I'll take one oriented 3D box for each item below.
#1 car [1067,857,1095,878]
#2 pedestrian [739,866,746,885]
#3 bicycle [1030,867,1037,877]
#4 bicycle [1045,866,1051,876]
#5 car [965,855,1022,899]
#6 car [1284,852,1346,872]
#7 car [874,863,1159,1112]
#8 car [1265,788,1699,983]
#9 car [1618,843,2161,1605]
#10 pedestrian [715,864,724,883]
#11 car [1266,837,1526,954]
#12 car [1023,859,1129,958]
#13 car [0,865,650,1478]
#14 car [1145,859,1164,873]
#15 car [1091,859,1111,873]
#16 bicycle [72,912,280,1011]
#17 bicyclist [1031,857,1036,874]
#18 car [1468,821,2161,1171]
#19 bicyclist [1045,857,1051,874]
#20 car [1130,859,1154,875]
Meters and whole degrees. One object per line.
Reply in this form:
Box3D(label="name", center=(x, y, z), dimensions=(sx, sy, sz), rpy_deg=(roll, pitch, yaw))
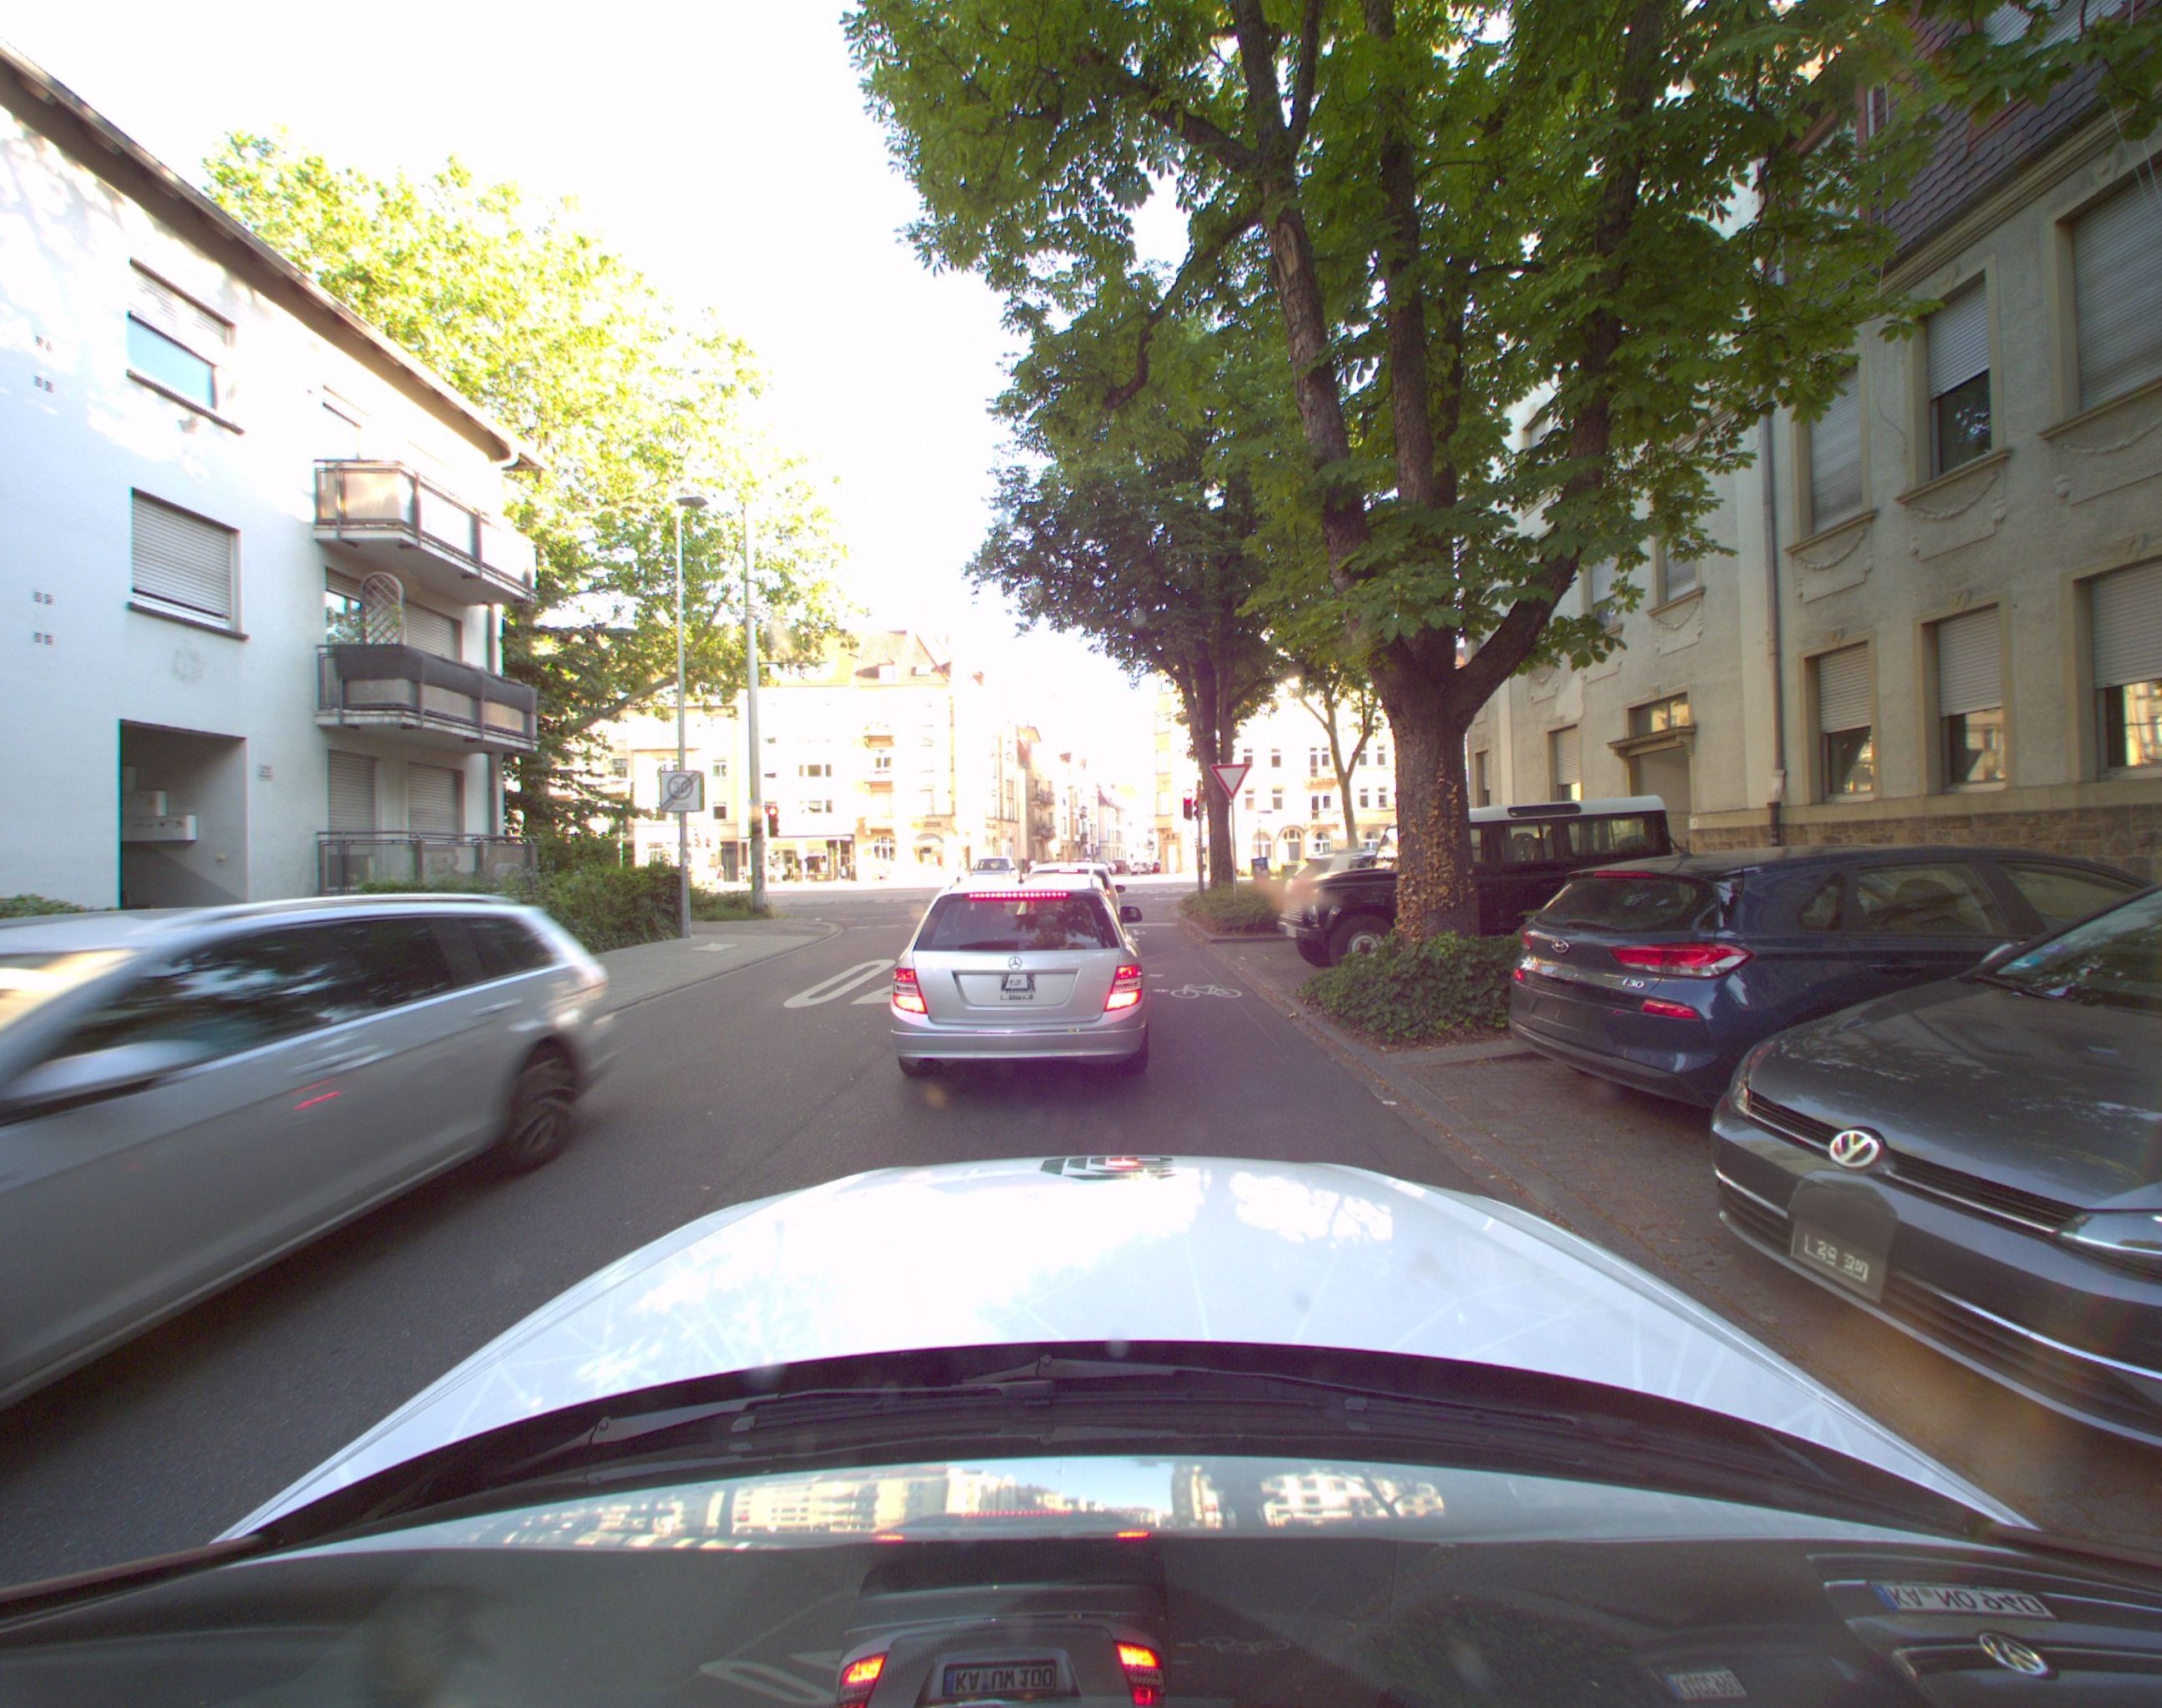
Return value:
Box3D(label="car", center=(0.031, 1.341, 80.510), dimensions=(1.926, 1.958, 4.161), rpy_deg=(-2, 0, 10))
Box3D(label="pedestrian", center=(-27.104, 1.753, 65.204), dimensions=(0.474, 1.511, 0.427), rpy_deg=(-1, 0, -23))
Box3D(label="bicycle", center=(-4.298, 1.592, 73.478), dimensions=(0.567, 0.834, 1.565), rpy_deg=(-1, 0, -1))
Box3D(label="bicycle", center=(-2.970, 1.551, 73.499), dimensions=(0.567, 0.834, 1.565), rpy_deg=(-1, 0, -1))
Box3D(label="car", center=(-3.281, 0.827, 31.071), dimensions=(1.609, 1.501, 3.594), rpy_deg=(-2, 1, 2))
Box3D(label="car", center=(14.148, 0.472, 49.386), dimensions=(3.352, 1.069, 1.380), rpy_deg=(-2, 0, 0))
Box3D(label="car", center=(-0.399, 0.811, 6.588), dimensions=(1.685, 1.429, 3.491), rpy_deg=(0, 0, -1))
Box3D(label="car", center=(4.790, 0.351, 10.188), dimensions=(4.478, 1.956, 1.792), rpy_deg=(-3, 0, -1))
Box3D(label="car", center=(4.090, 0.661, 2.307), dimensions=(4.037, 1.422, 1.627), rpy_deg=(-3, -1, -2))
Box3D(label="pedestrian", center=(-28.300, 1.521, 63.791), dimensions=(0.566, 1.511, 0.499), rpy_deg=(-1, 0, -17))
Box3D(label="car", center=(4.955, 0.613, 13.102), dimensions=(3.475, 1.586, 1.708), rpy_deg=(-3, 0, -5))
Box3D(label="car", center=(-0.061, 0.799, 13.673), dimensions=(1.528, 1.391, 3.599), rpy_deg=(-1, 0, 0))
Box3D(label="car", center=(-3.619, 0.850, 3.040), dimensions=(1.776, 1.462, 4.296), rpy_deg=(-3, 0, -2))
Box3D(label="car", center=(9.225, 1.464, 102.025), dimensions=(1.709, 1.478, 4.016), rpy_deg=(-6, -1, 14))
Box3D(label="car", center=(2.531, 1.541, 102.546), dimensions=(1.639, 1.783, 3.876), rpy_deg=(-1, -1, 13))
Box3D(label="bicycle", center=(-10.007, 1.159, 9.076), dimensions=(1.469, 0.975, 0.402), rpy_deg=(2, -2, -38))
Box3D(label="bicyclist", center=(-4.291, 1.028, 73.622), dimensions=(0.465, 1.514, 0.655), rpy_deg=(-1, 0, -2))
Box3D(label="car", center=(4.440, 0.623, 4.539), dimensions=(3.739, 1.422, 1.627), rpy_deg=(-3, -1, -2))
Box3D(label="bicyclist", center=(-3.006, 0.994, 73.575), dimensions=(0.465, 1.521, 0.693), rpy_deg=(-1, 0, -2))
Box3D(label="car", center=(6.450, 1.325, 85.883), dimensions=(1.708, 1.478, 4.016), rpy_deg=(-3, 0, 14))
